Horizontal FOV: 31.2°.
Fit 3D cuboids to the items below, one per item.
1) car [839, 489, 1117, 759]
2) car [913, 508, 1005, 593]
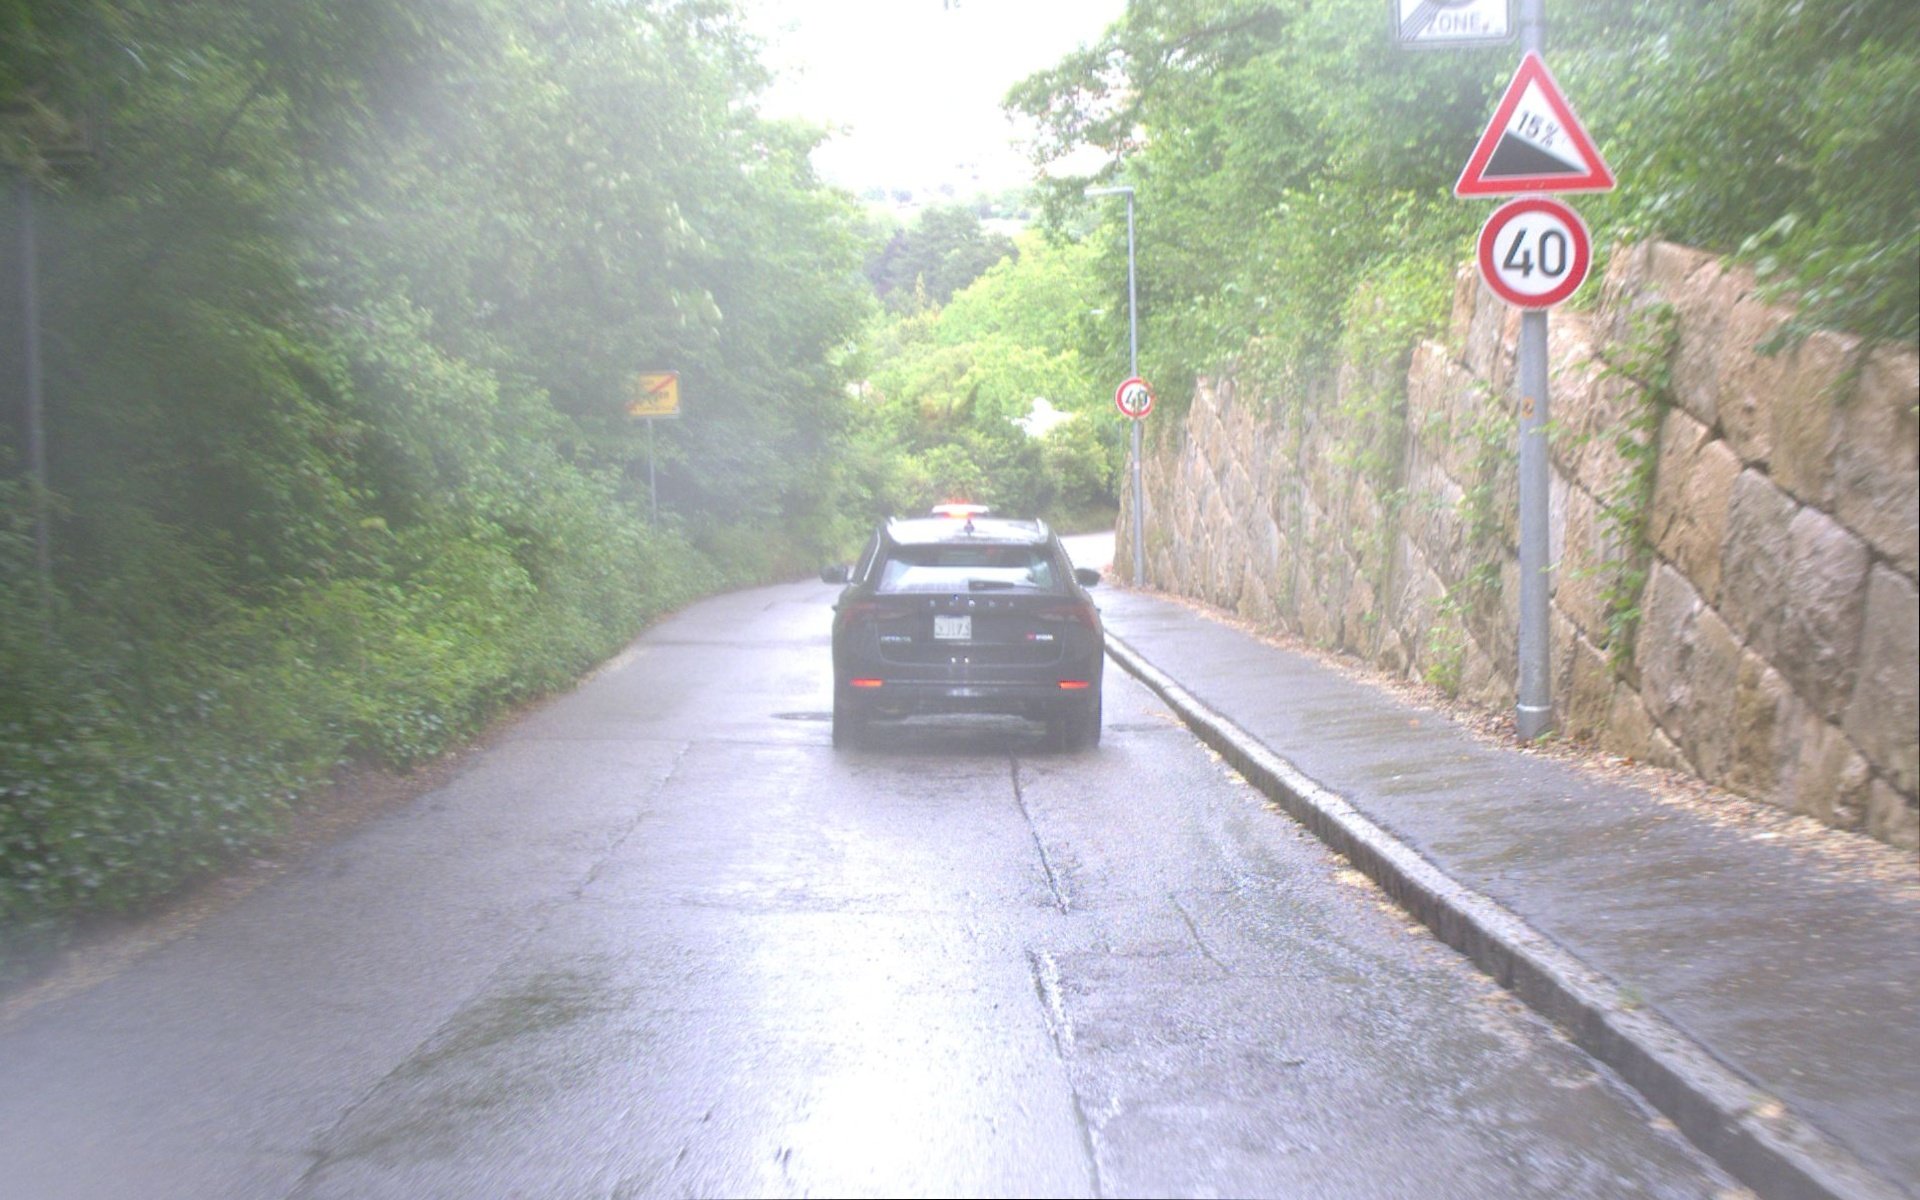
[{"bbox_3d":[0.045,0.088,23.196,1.699,1.445,4.002,0,5,-2],"label":"car"},{"bbox_3d":[-0.042,-1.091,74.805,1.863,1.737,4.000,2,1,-1],"label":"car"}]
